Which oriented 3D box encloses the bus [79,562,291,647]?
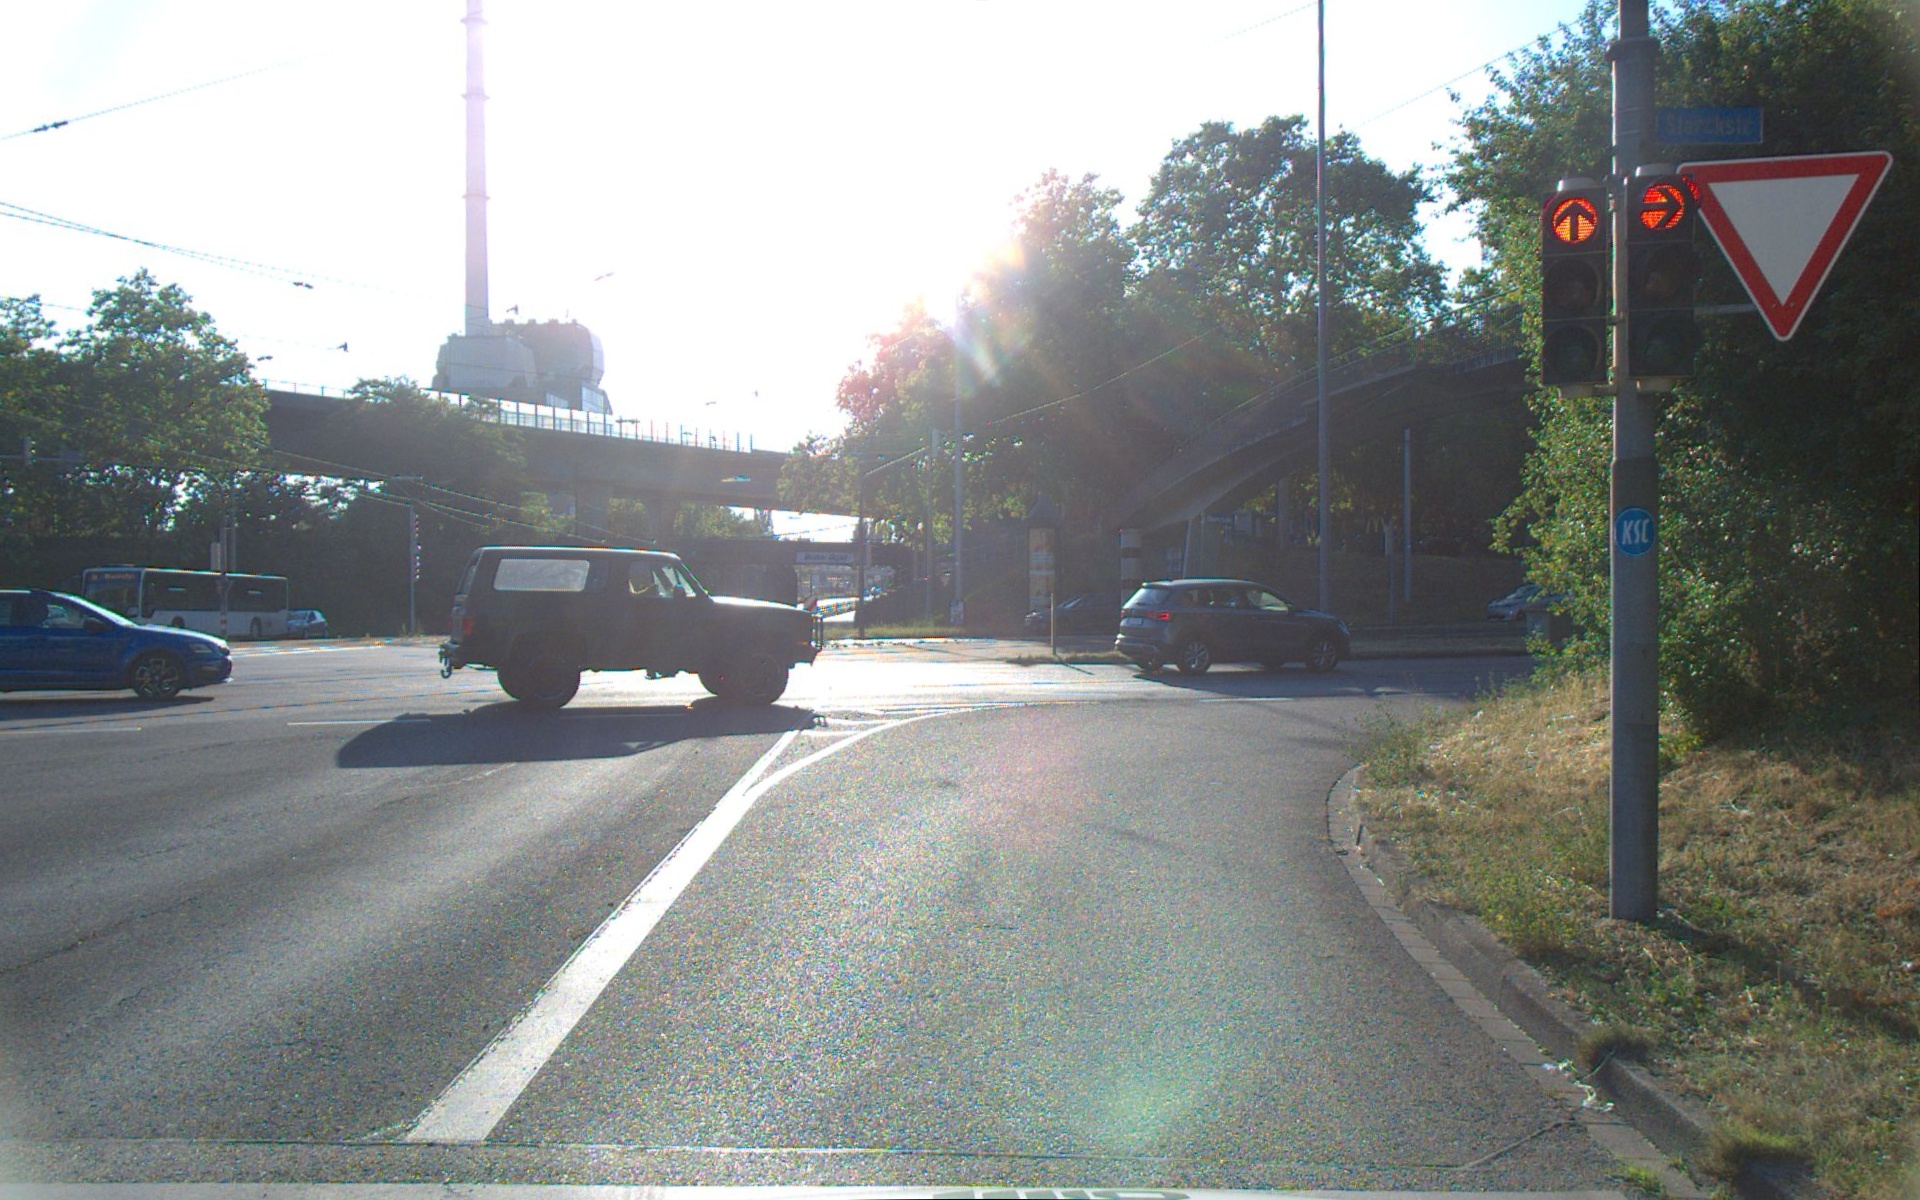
[{"bbox_3d":[-32.044,0.308,69.281,2.491,3.185,12.919,-1,-1,2],"label":"bus"}]

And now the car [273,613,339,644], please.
[{"bbox_3d":[-31.704,1.372,80.255,1.573,1.444,4.008,1,0,1],"label":"car"}]

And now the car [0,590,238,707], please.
[{"bbox_3d":[-12.105,0.621,21.938,4.546,1.484,1.682,0,0,-22],"label":"car"}]

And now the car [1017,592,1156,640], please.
[{"bbox_3d":[4.371,0.546,57.149,4.505,1.602,1.685,1,0,-18],"label":"car"}]

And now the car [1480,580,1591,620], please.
[{"bbox_3d":[22.516,0.002,64.693,3.935,1.538,1.684,1,0,-20],"label":"car"}]

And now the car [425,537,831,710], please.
[{"bbox_3d":[-4.275,0.283,21.329,4.860,2.026,2.023,0,0,-23],"label":"car"}]

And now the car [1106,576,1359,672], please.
[{"bbox_3d":[4.810,0.408,29.167,4.177,1.602,1.682,0,0,-23],"label":"car"}]

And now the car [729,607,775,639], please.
[{"bbox_3d":[-9.550,1.041,76.097,1.631,1.429,4.196,1,0,-1],"label":"car"}]
